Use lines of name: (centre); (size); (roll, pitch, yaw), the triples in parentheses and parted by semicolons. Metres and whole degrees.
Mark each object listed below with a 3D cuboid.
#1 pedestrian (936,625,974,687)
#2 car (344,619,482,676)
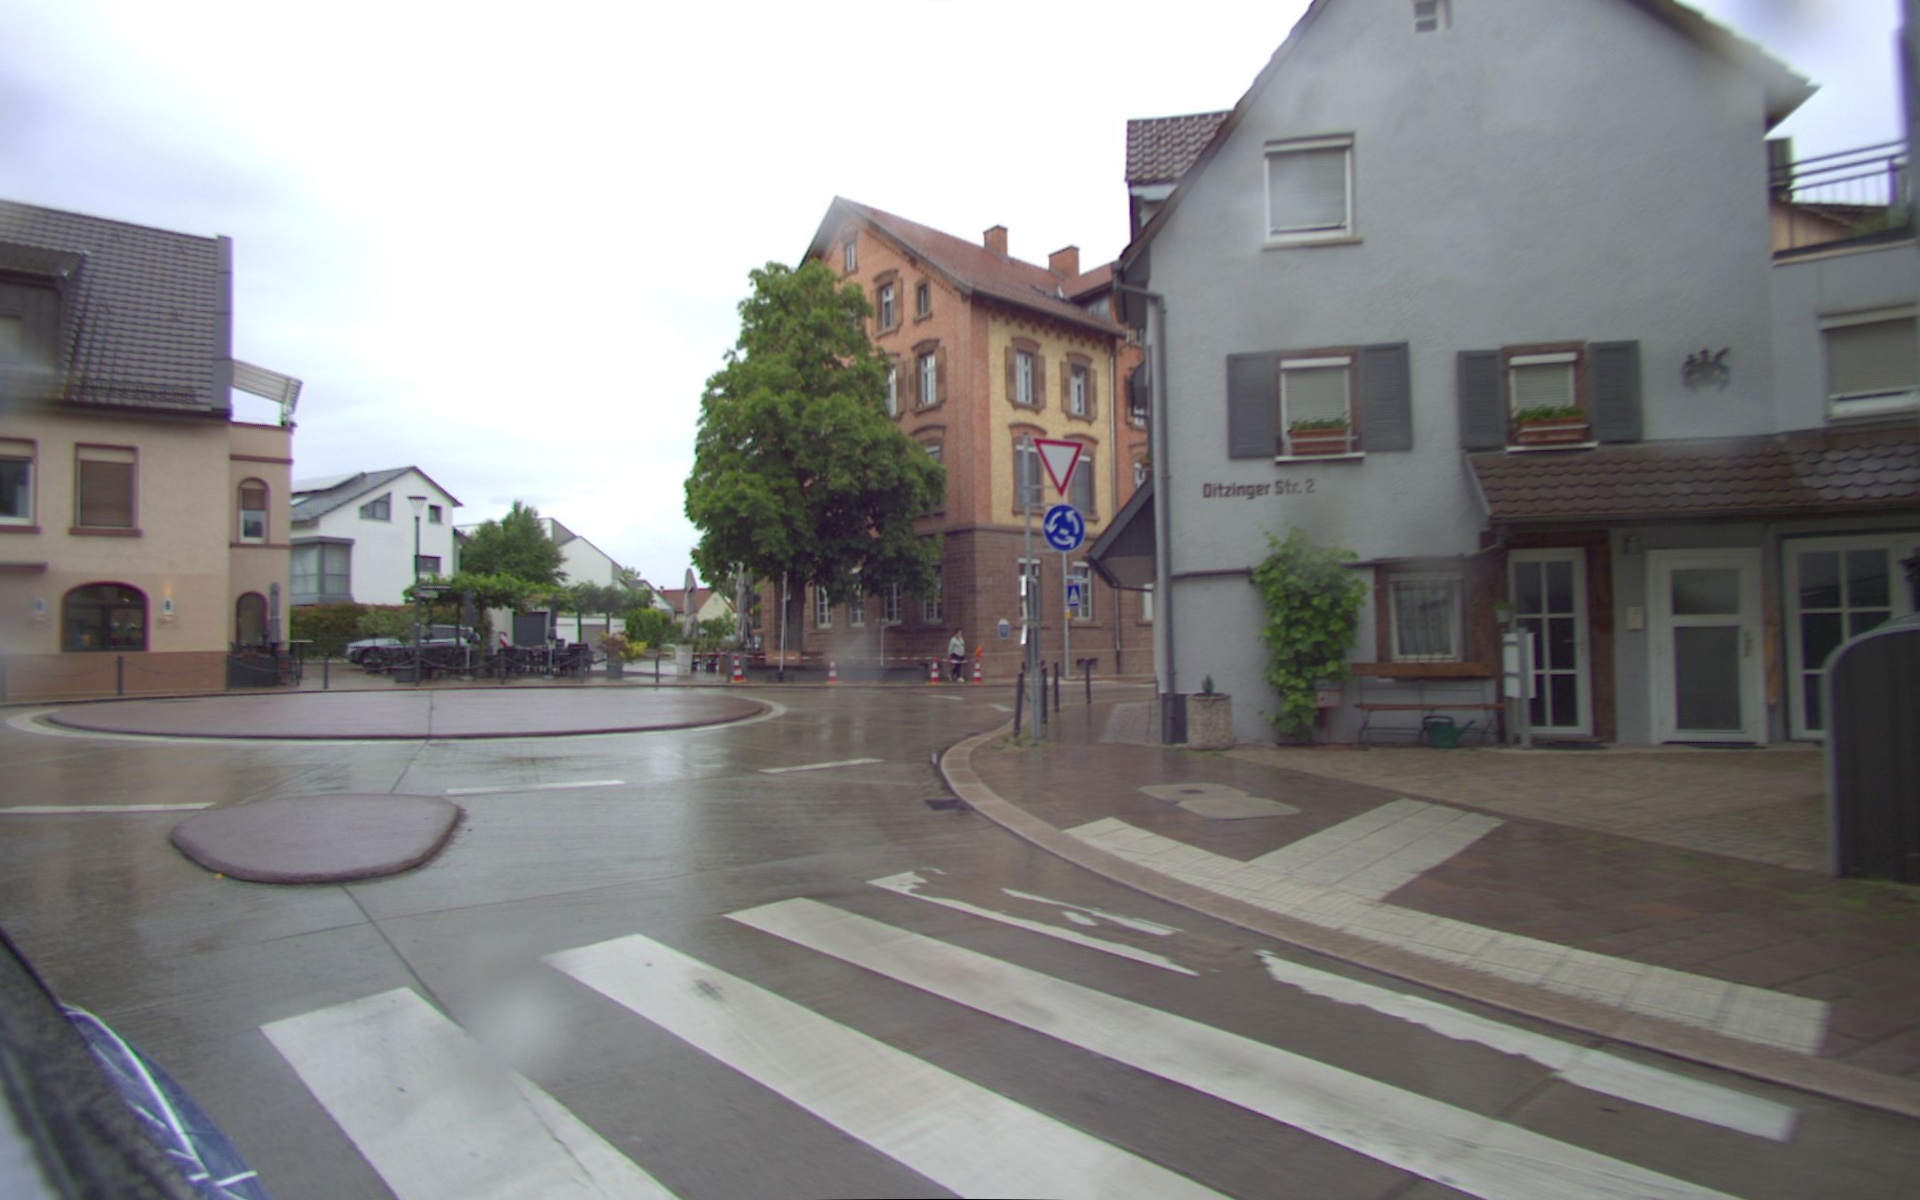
pedestrian: (-0.154, 1.743, 31.677); (0.812, 1.901, 0.844); (3, -3, -42)
car: (-20.694, 1.818, 38.381); (4.411, 2.029, 2.006); (3, -4, -30)
